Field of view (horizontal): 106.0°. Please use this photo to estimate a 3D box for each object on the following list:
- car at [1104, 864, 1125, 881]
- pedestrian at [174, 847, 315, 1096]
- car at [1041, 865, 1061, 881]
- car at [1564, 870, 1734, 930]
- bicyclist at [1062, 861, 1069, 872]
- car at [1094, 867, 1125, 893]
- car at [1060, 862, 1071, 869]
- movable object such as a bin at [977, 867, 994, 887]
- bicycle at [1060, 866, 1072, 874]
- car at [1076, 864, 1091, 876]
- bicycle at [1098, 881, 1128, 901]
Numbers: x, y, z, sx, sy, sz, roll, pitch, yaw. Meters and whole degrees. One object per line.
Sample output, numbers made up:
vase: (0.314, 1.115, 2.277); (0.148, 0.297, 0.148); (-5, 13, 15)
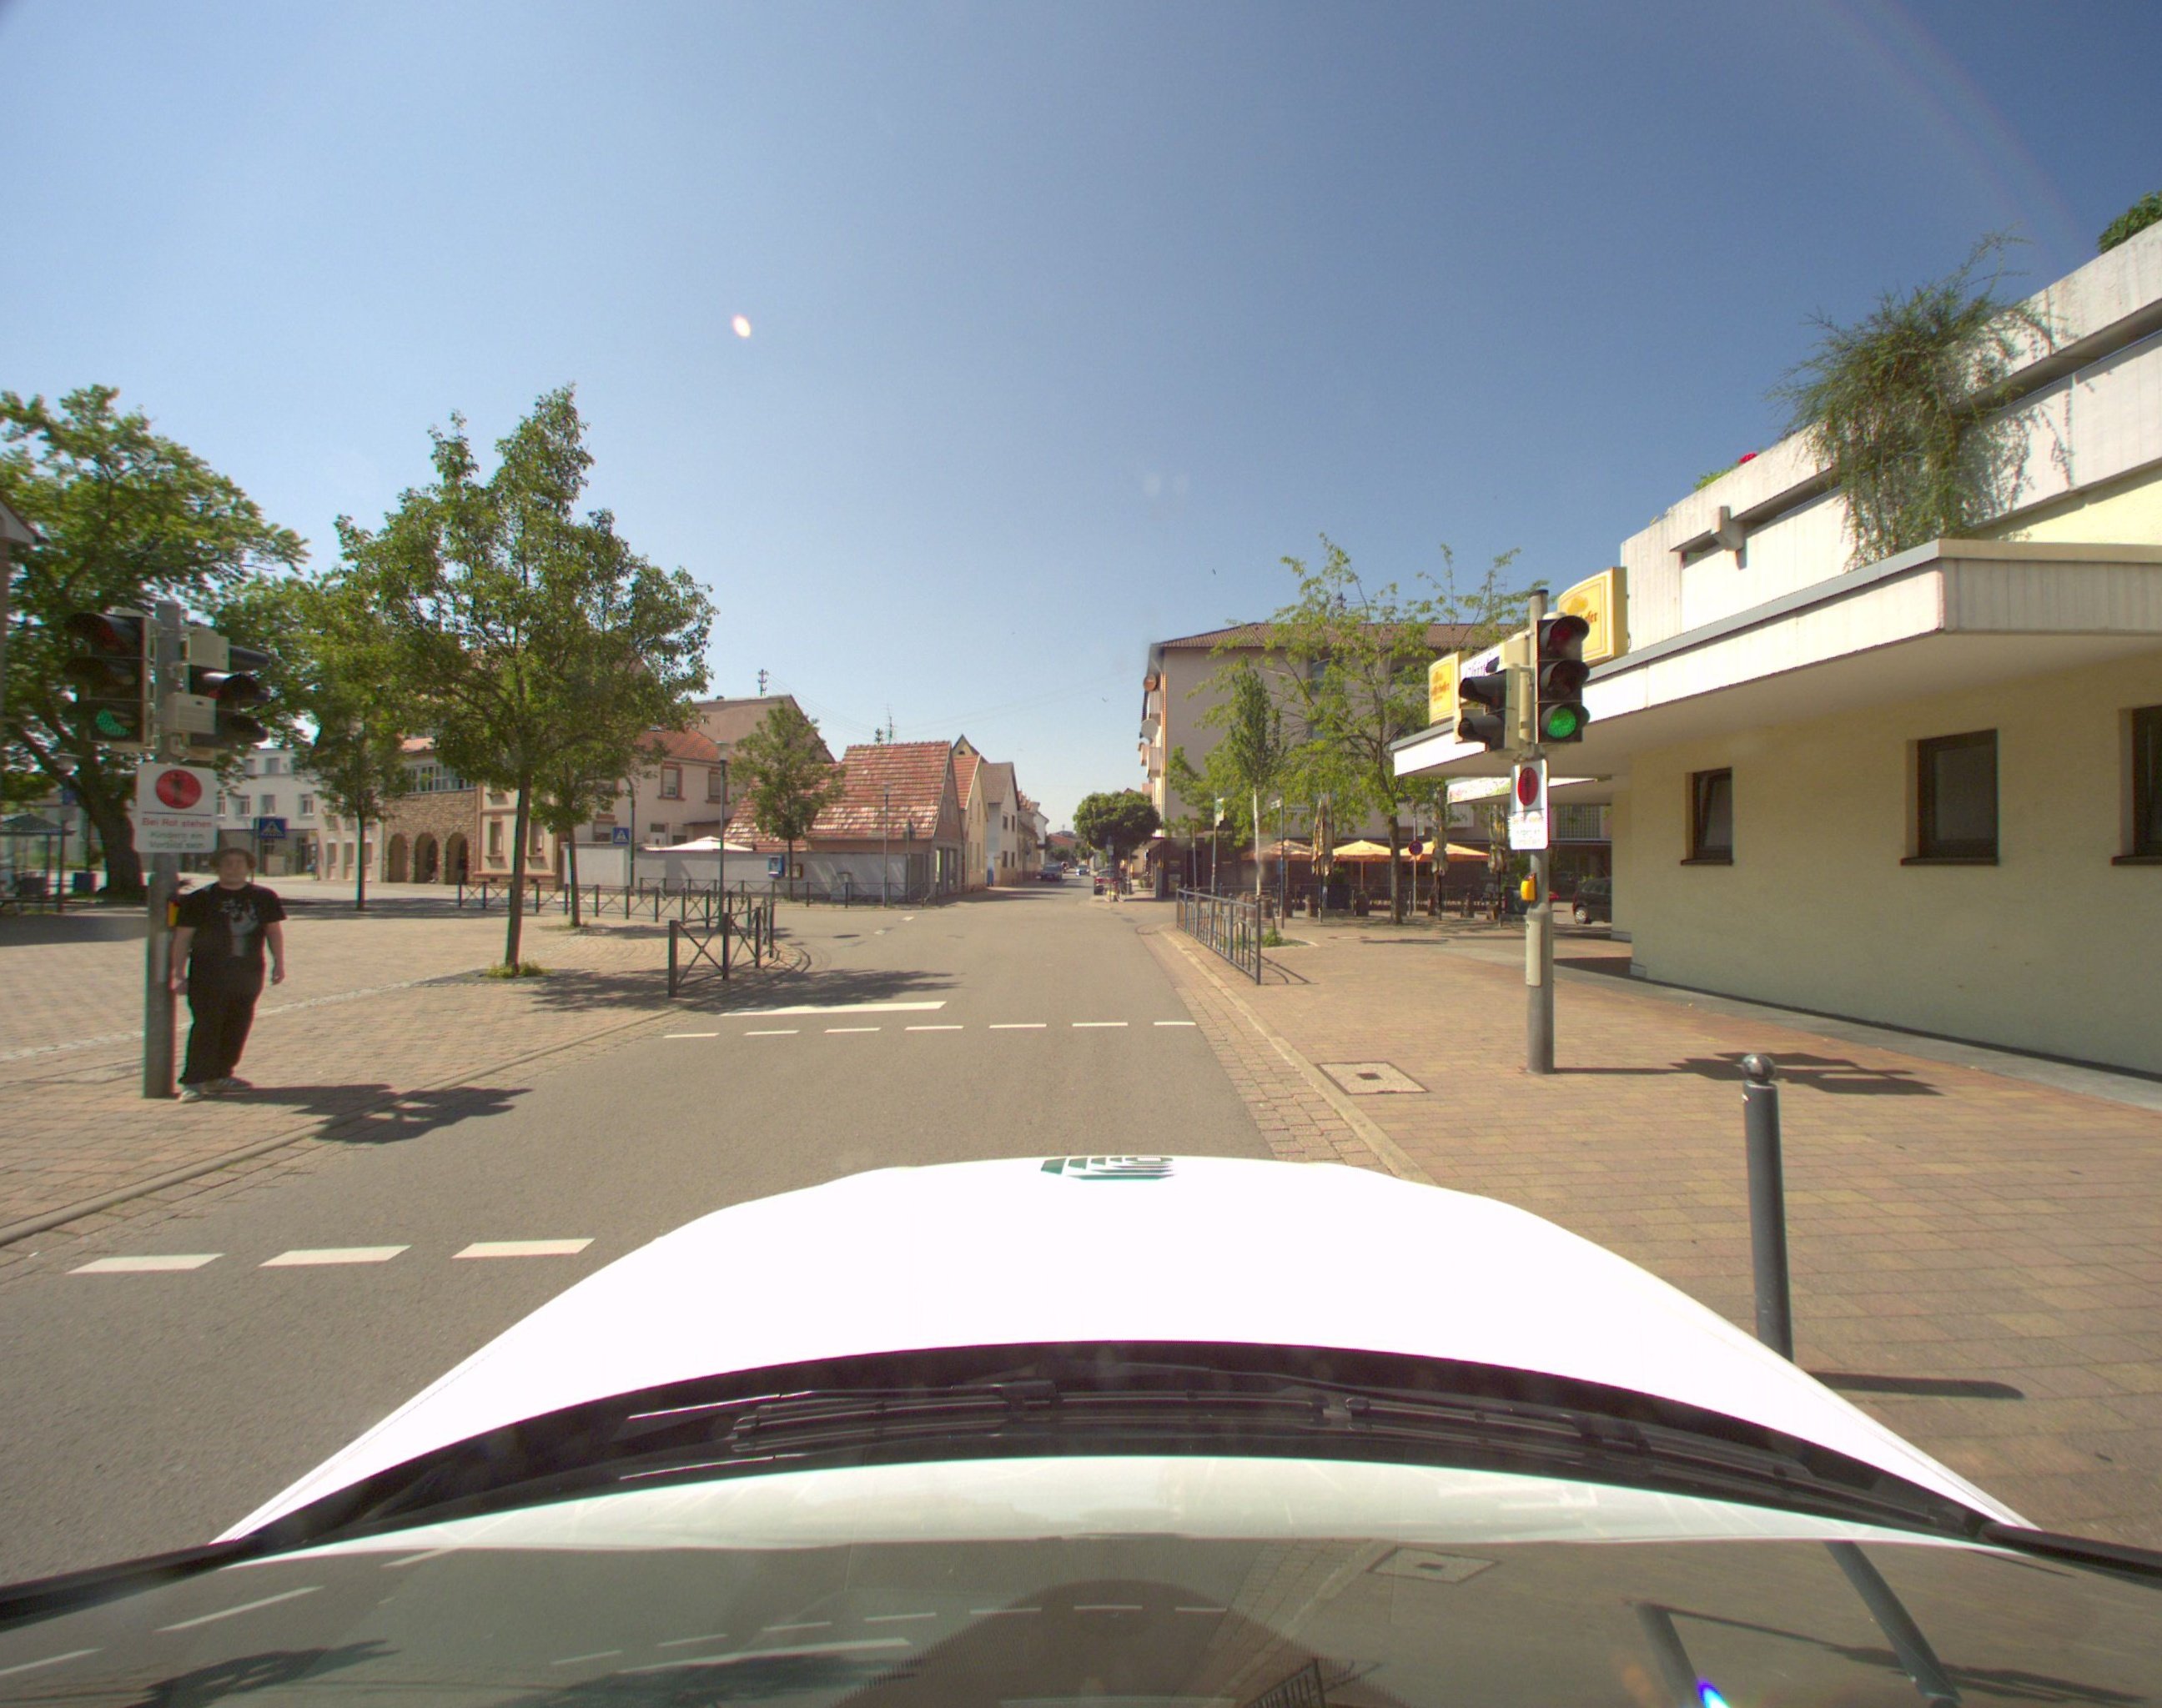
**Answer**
car: (3.278, 1.796, 80.197); (2.035, 1.689, 4.844); (0, -1, 2)
pedestrian: (-5.841, 0.772, 5.696); (0.543, 1.619, 0.561); (-1, -3, 35)
car: (-2.843, 1.754, 77.525); (1.657, 1.476, 4.136); (0, -1, 2)
car: (15.406, 1.207, 22.389); (1.763, 1.510, 3.966); (1, -2, -4)
bicyclist: (-2.526, 1.955, 129.344); (1.044, 1.637, 1.127); (0, -1, -4)
car: (1.650, 1.463, 46.347); (1.569, 1.454, 3.489); (0, -1, 4)
car: (-3.430, 2.604, 182.070); (2.018, 1.598, 4.512); (0, -1, 3)
movable object such as a bin: (-6.586, 1.576, 56.203); (1.096, 1.366, 0.390); (0, -1, 5)
bicycle: (-2.411, 2.547, 129.677); (1.620, 1.371, 3.920); (0, -1, -4)
car: (0.350, 2.118, 105.880); (1.903, 1.481, 4.843); (0, -2, 0)
bicycle: (1.479, 1.689, 37.713); (1.396, 0.897, 0.468); (-2, -1, 39)
